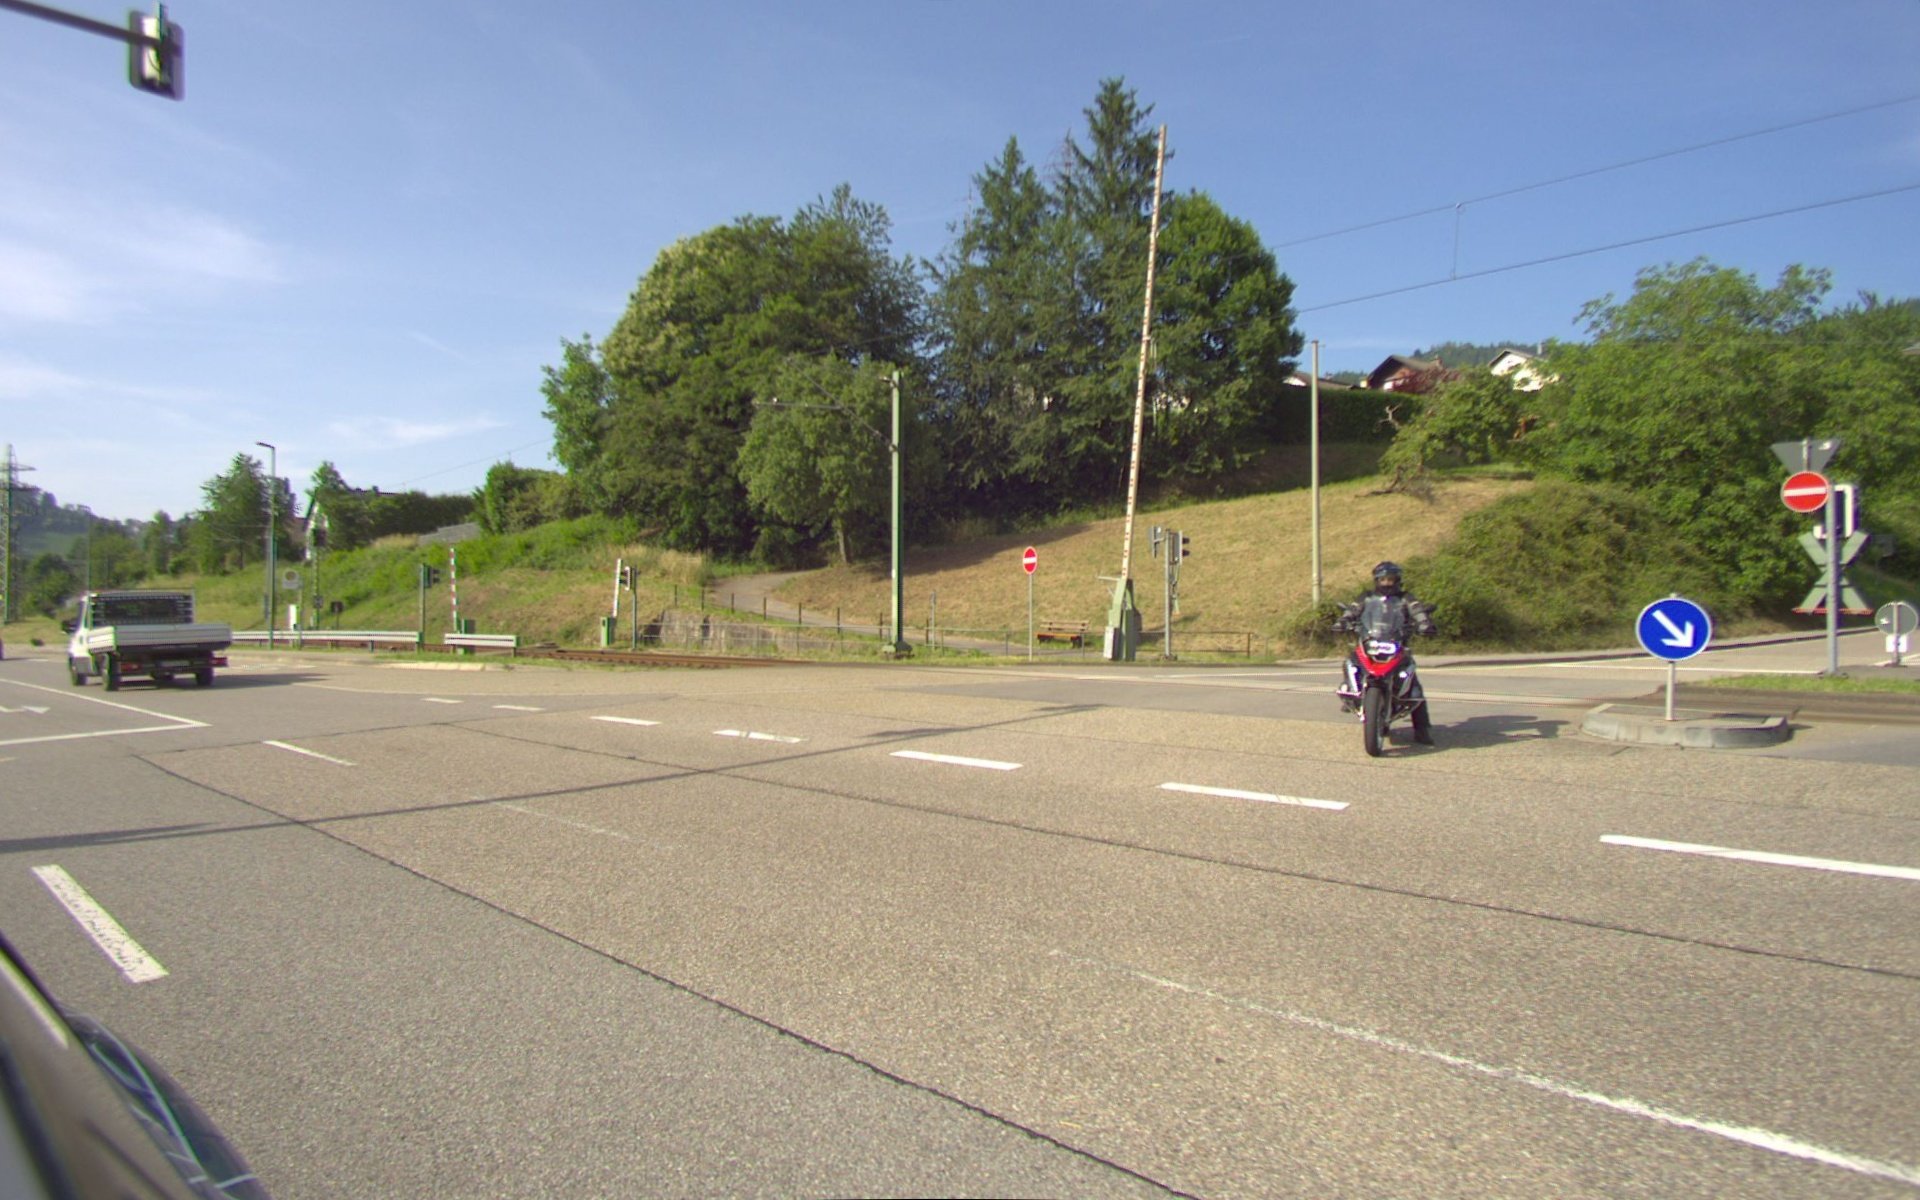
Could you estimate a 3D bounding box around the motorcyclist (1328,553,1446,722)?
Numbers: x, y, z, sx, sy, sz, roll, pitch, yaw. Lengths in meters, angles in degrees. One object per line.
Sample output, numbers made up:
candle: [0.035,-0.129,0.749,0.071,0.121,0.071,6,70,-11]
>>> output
motorcyclist: [4.250,0.338,10.037,0.986,1.555,1.176,-1,1,26]

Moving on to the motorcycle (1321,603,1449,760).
motorcycle: [4.227,0.707,9.966,1.000,1.278,2.571,-1,0,25]

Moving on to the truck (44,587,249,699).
truck: [-19.121,0.927,23.658,6.273,2.283,2.423,-1,0,39]
